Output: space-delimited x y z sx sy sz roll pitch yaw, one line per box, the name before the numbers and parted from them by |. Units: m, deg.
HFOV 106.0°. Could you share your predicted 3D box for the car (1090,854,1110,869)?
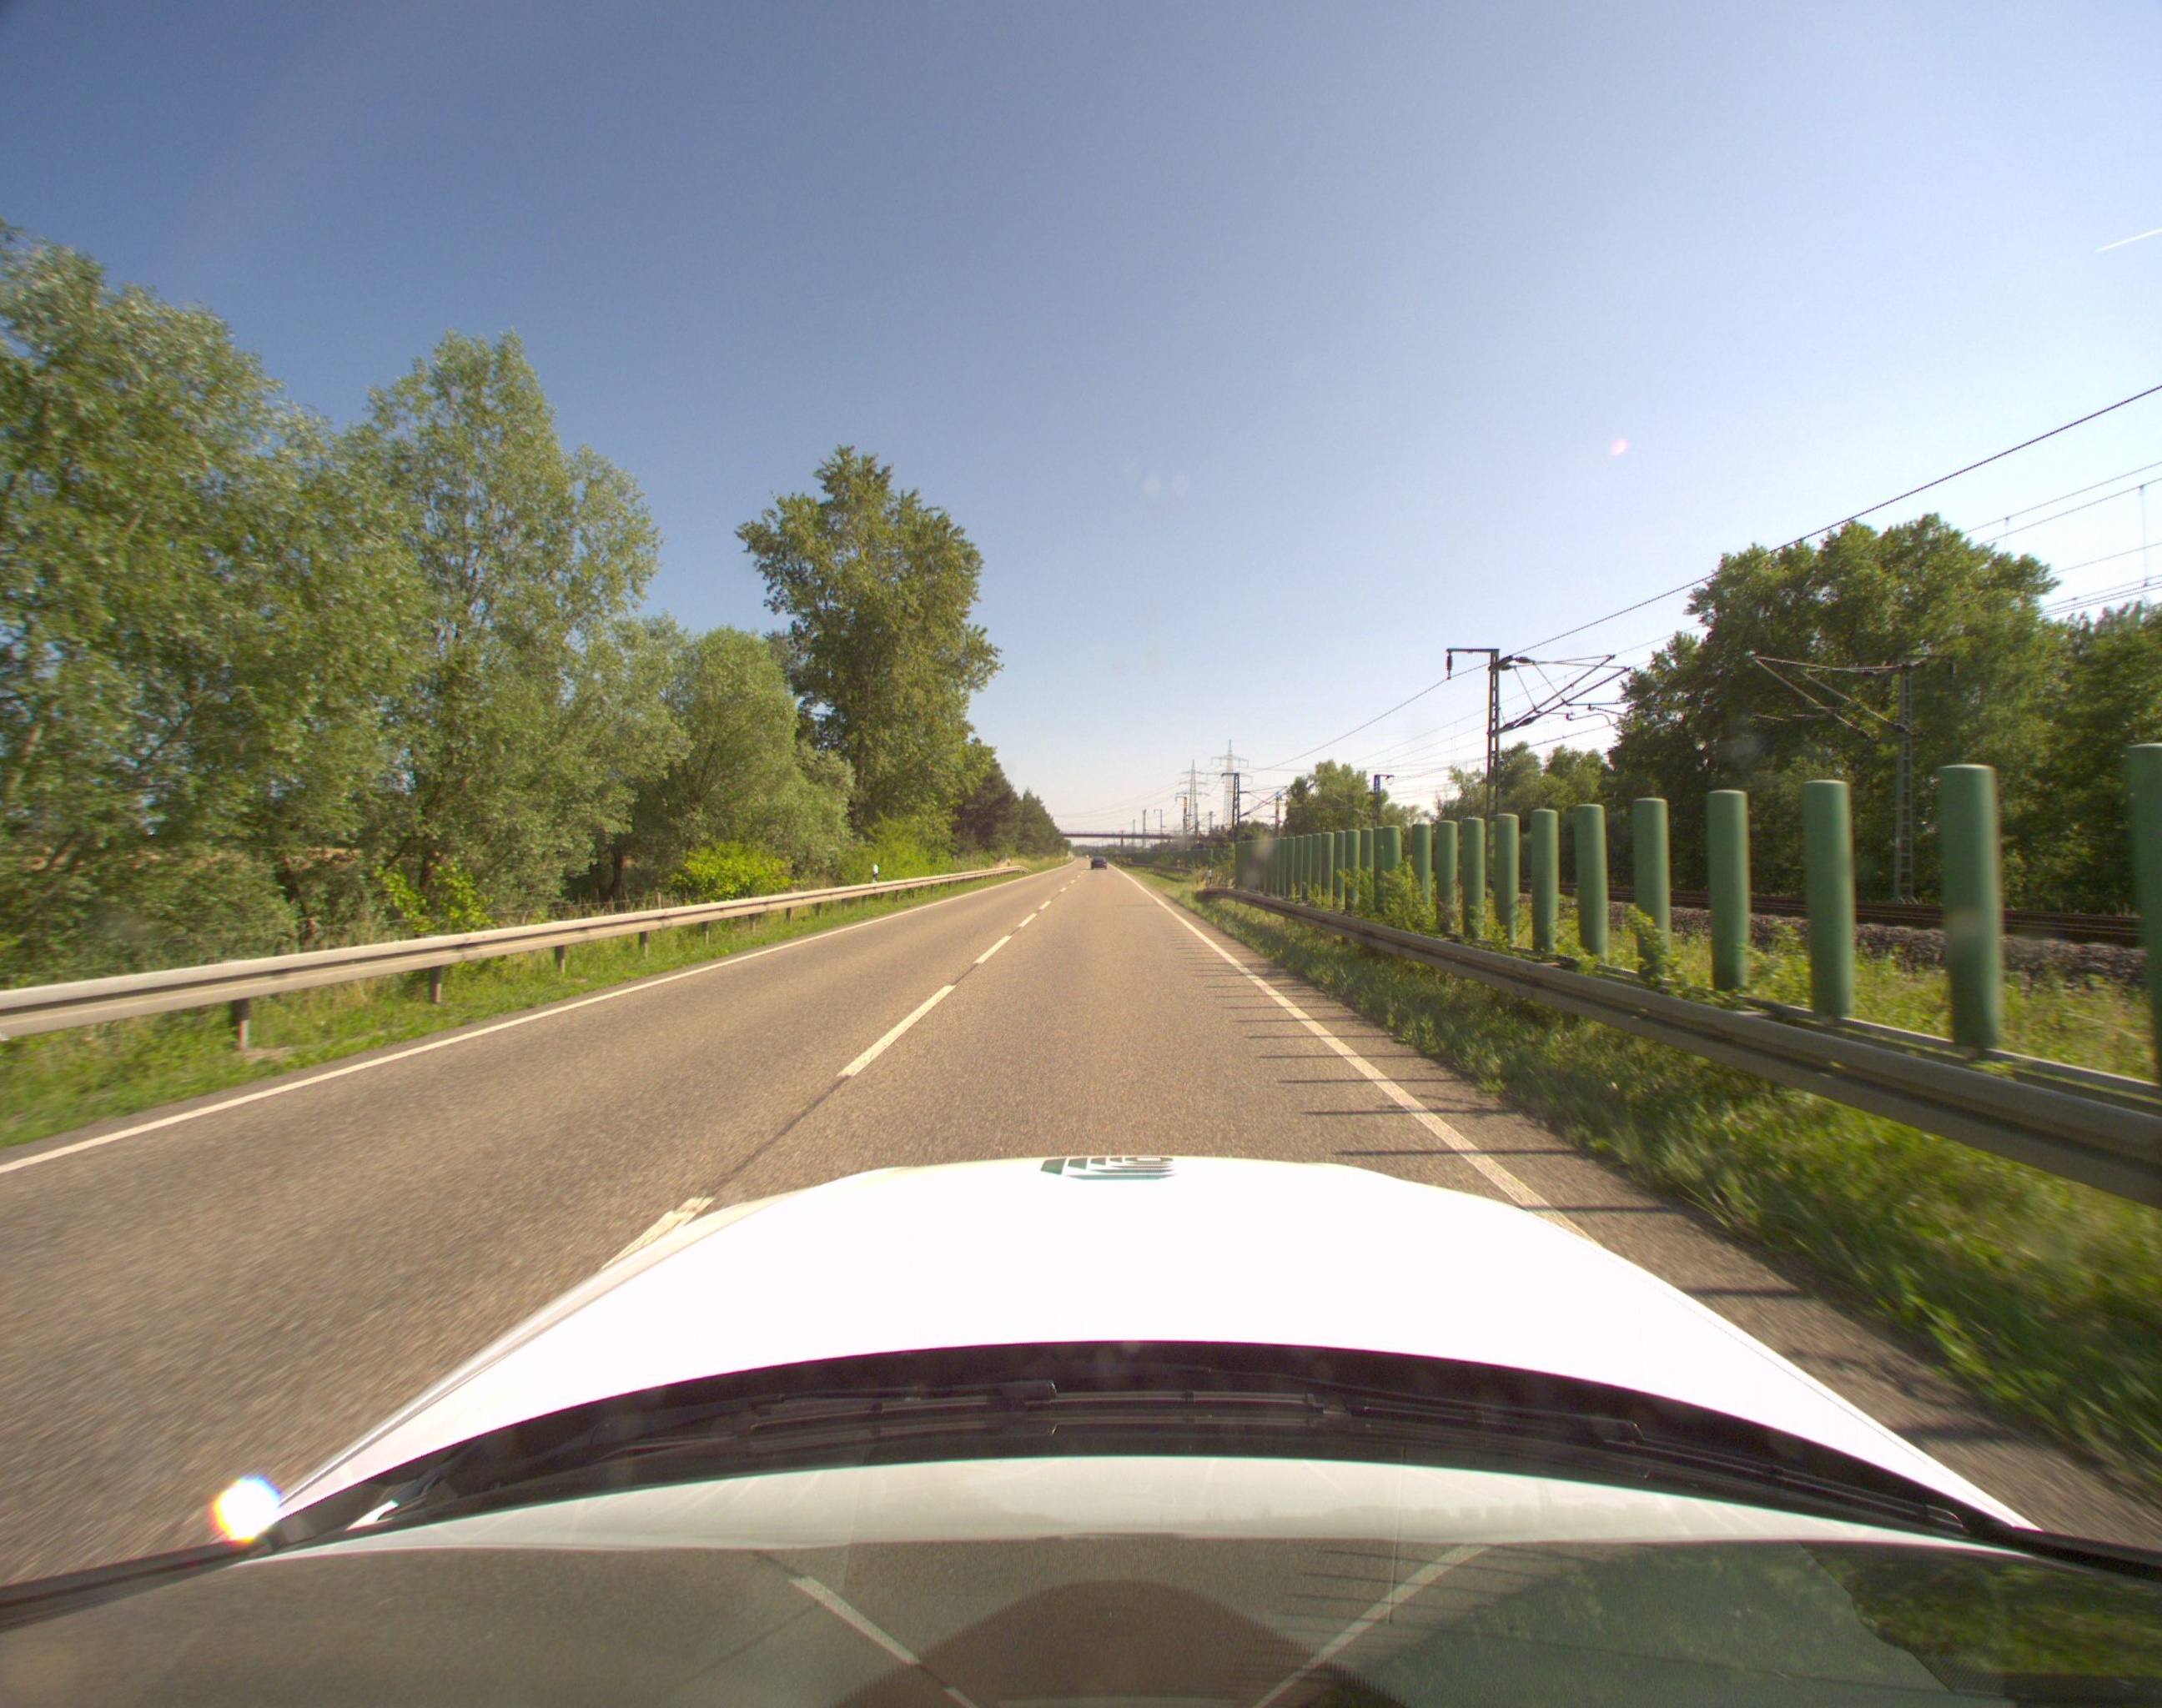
car | 2.183 0.849 94.907 1.855 1.642 3.994 -1 0 -4
